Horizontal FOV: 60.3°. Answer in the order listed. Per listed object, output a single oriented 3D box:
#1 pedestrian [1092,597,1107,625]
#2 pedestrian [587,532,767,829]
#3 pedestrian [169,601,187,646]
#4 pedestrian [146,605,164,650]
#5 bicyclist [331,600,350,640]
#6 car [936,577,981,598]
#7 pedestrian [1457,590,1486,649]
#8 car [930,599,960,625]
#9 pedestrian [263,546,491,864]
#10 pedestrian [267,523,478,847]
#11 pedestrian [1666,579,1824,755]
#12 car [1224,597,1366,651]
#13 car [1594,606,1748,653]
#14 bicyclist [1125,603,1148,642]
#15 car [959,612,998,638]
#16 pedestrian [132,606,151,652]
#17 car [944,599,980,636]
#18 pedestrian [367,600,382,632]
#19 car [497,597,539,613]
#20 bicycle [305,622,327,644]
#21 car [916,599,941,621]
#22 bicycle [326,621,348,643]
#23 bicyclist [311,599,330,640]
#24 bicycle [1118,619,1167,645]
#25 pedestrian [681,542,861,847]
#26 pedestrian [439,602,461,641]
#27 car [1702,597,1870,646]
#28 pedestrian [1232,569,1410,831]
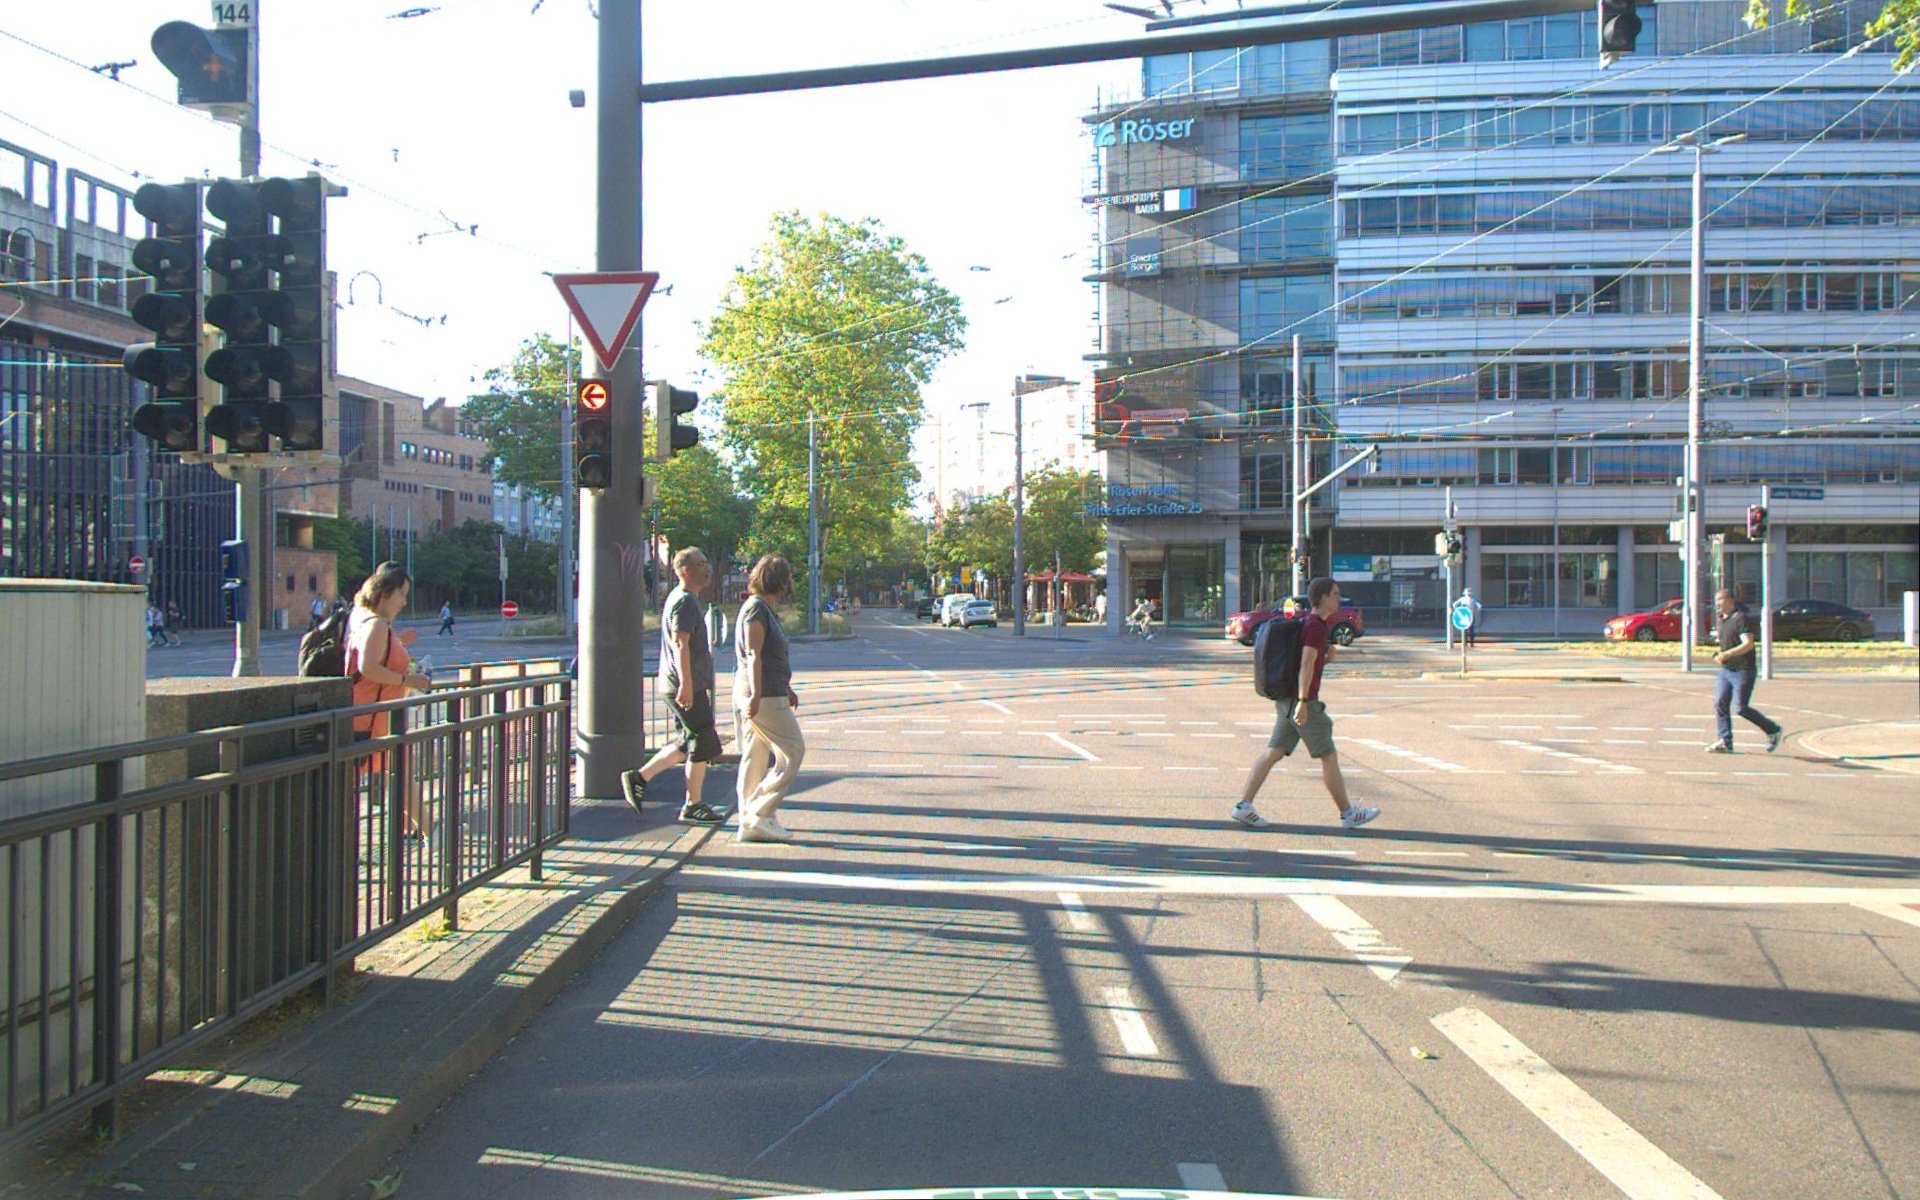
[{"bbox_3d":[7.583,0.597,89.902,0.724,1.491,0.536,-1,0,-3],"label":"pedestrian"},{"bbox_3d":[-1.898,0.533,11.208,1.124,1.927,0.831,1,-1,-8],"label":"pedestrian"},{"bbox_3d":[-29.317,0.871,62.020,0.528,1.679,0.622,-1,0,-20],"label":"pedestrian"},{"bbox_3d":[-30.743,1.052,63.161,0.528,1.679,0.622,-1,0,-20],"label":"pedestrian"},{"bbox_3d":[-26.447,0.849,70.605,0.582,1.705,0.788,0,0,-7],"label":"bicyclist"},{"bbox_3d":[-0.112,-1.103,146.604,3.681,1.780,1.783,1,-1,14],"label":"car"},{"bbox_3d":[14.897,0.565,48.195,0.704,1.711,0.557,1,-1,6],"label":"pedestrian"},{"bbox_3d":[-1.020,0.761,110.263,1.953,1.691,3.999,0,0,-1],"label":"car"},{"bbox_3d":[-3.265,0.576,9.357,1.052,1.711,0.756,1,-1,-8],"label":"pedestrian"},{"bbox_3d":[-3.584,0.511,10.170,1.053,1.904,0.737,1,-1,-8],"label":"pedestrian"},{"bbox_3d":[8.622,0.725,18.213,1.185,1.854,1.040,1,-1,-6],"label":"pedestrian"},{"bbox_3d":[10.687,0.755,52.968,4.156,1.630,1.794,-1,0,-3],"label":"car"},{"bbox_3d":[22.596,0.929,52.664,4.152,1.417,1.796,-1,0,3],"label":"car"},{"bbox_3d":[6.299,0.789,58.924,0.801,1.390,0.400,-1,0,4],"label":"bicyclist"},{"bbox_3d":[0.973,1.317,88.215,1.953,1.355,3.999,-1,0,-1],"label":"car"},{"bbox_3d":[-30.081,1.057,60.813,0.528,1.679,0.622,-1,0,-20],"label":"pedestrian"},{"bbox_3d":[0.113,0.982,94.969,1.953,2.026,3.999,0,0,-1],"label":"car"},{"bbox_3d":[-33.797,0.927,95.408,0.627,1.842,0.546,-1,-1,6],"label":"pedestrian"},{"bbox_3d":[-47.190,0.506,176.617,3.948,1.579,1.589,2,-1,-32],"label":"car"},{"bbox_3d":[-27.340,1.395,70.218,0.503,0.897,1.835,0,0,-9],"label":"bicycle"},{"bbox_3d":[-2.520,0.800,131.948,1.953,1.691,3.999,0,0,-1],"label":"car"},{"bbox_3d":[-26.547,1.369,70.540,0.503,0.897,1.835,0,0,-9],"label":"bicycle"},{"bbox_3d":[-27.189,0.827,70.334,0.582,1.705,0.788,0,0,-7],"label":"bicyclist"},{"bbox_3d":[6.485,1.127,58.912,1.704,0.915,0.409,-1,0,4],"label":"bicycle"},{"bbox_3d":[-1.191,0.579,10.401,1.051,1.837,0.756,1,-1,-8],"label":"pedestrian"},{"bbox_3d":[-20.642,0.862,66.961,0.740,1.557,0.507,1,-1,-8],"label":"pedestrian"},{"bbox_3d":[24.835,0.633,49.837,4.151,1.417,1.796,-1,0,4],"label":"car"},{"bbox_3d":[2.478,0.678,11.428,1.052,1.745,0.628,1,-1,-5],"label":"pedestrian"}]
